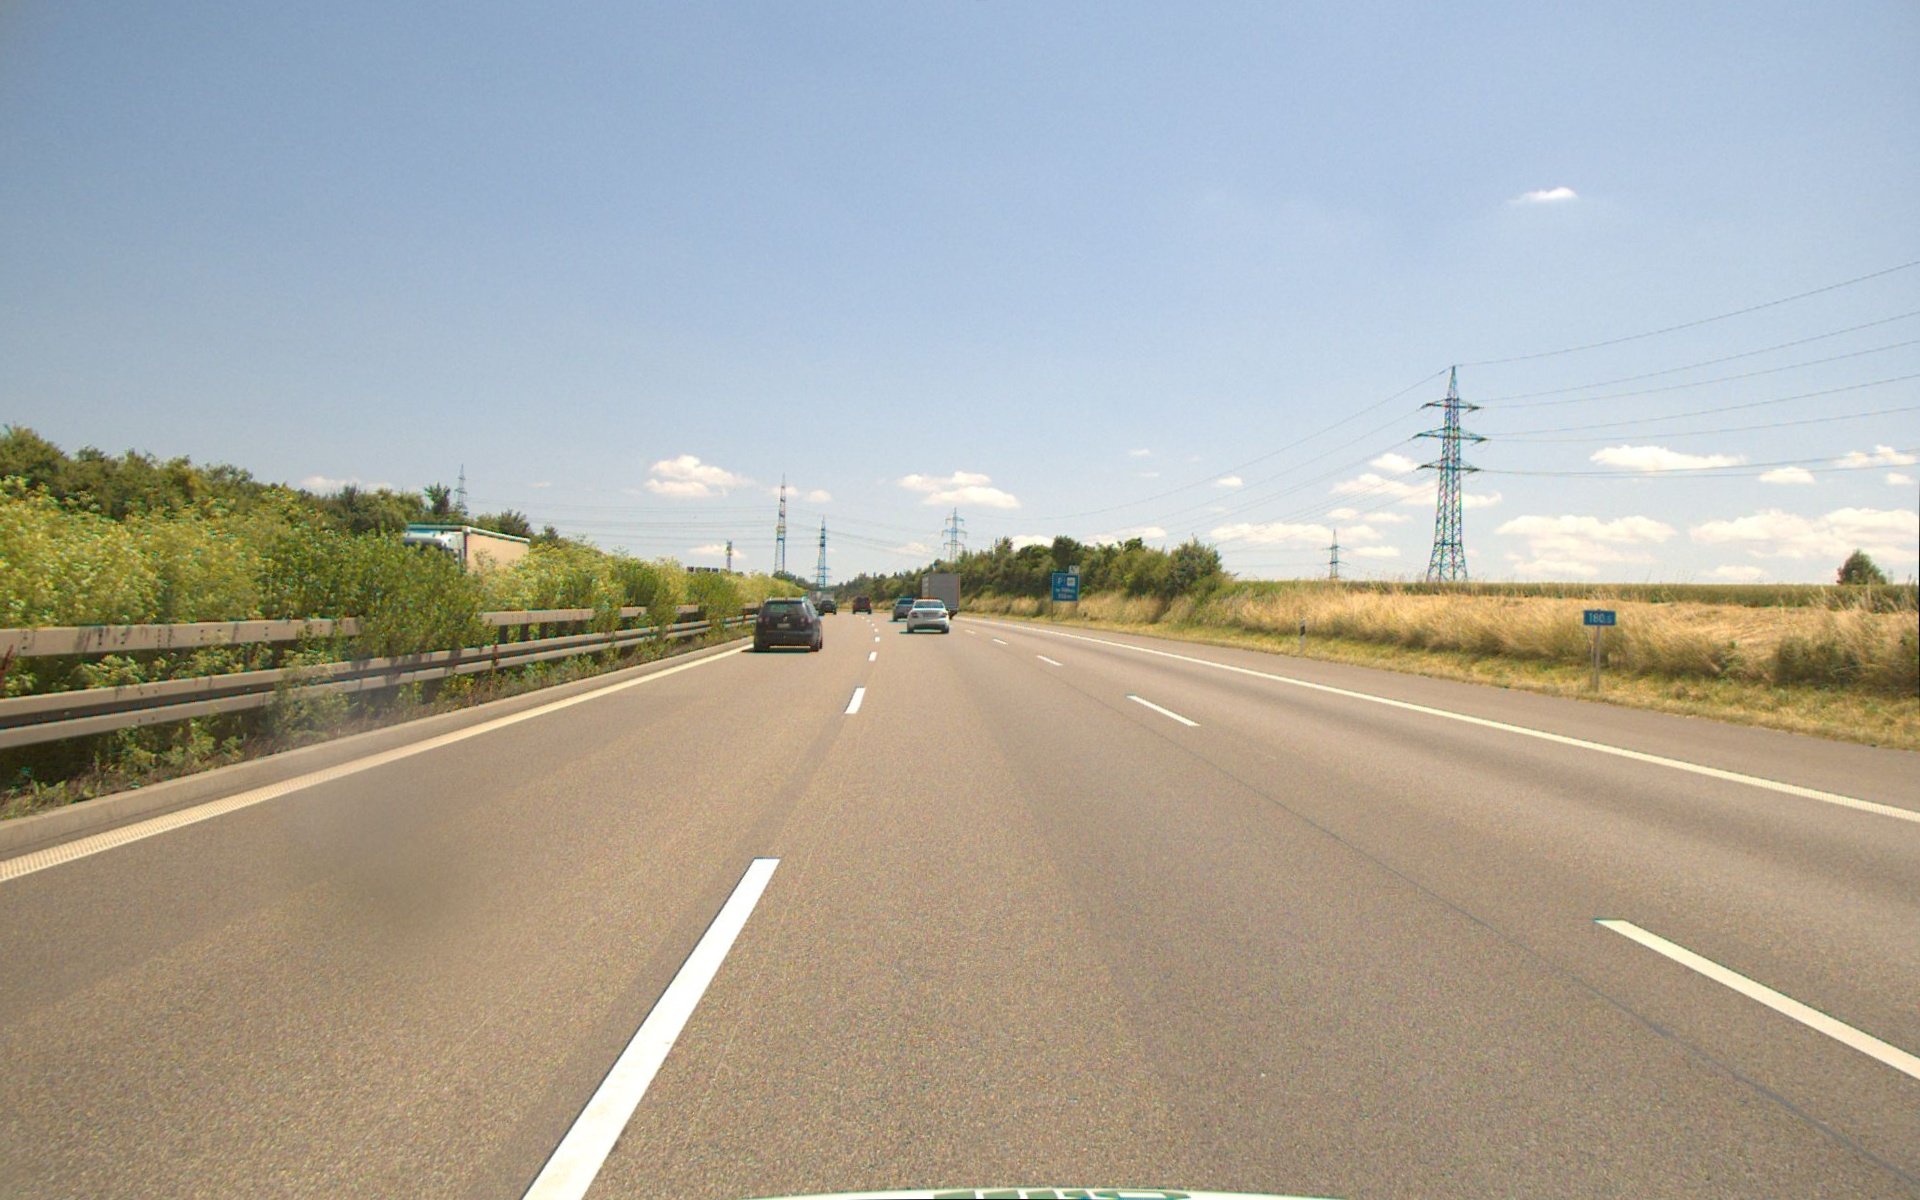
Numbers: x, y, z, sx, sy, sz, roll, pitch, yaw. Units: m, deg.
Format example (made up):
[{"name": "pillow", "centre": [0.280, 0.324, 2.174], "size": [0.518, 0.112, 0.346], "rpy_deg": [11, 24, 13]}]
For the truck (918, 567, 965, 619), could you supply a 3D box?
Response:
[{"name": "truck", "centre": [-1.547, -0.485, 133.544], "size": [3.158, 3.993, 9.051], "rpy_deg": [1, -1, -5]}]

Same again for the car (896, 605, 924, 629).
[{"name": "car", "centre": [-3.364, 1.153, 111.565], "size": [1.801, 1.568, 3.913], "rpy_deg": [0, 0, -1]}]

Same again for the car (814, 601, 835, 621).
[{"name": "car", "centre": [-13.141, 1.037, 160.524], "size": [1.955, 1.892, 3.996], "rpy_deg": [1, 0, -5]}]

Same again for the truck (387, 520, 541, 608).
[{"name": "truck", "centre": [-22.322, -1.457, 75.783], "size": [2.620, 3.580, 17.030], "rpy_deg": [0, 0, -2]}]

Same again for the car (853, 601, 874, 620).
[{"name": "car", "centre": [-10.001, 1.060, 171.621], "size": [1.866, 1.959, 3.993], "rpy_deg": [0, 0, -8]}]

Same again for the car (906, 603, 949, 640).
[{"name": "car", "centre": [-1.431, 0.911, 71.661], "size": [1.783, 1.568, 3.913], "rpy_deg": [0, 0, -2]}]

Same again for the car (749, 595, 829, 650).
[{"name": "car", "centre": [-4.669, 0.596, 45.698], "size": [1.720, 1.454, 4.000], "rpy_deg": [0, 0, 1]}]
